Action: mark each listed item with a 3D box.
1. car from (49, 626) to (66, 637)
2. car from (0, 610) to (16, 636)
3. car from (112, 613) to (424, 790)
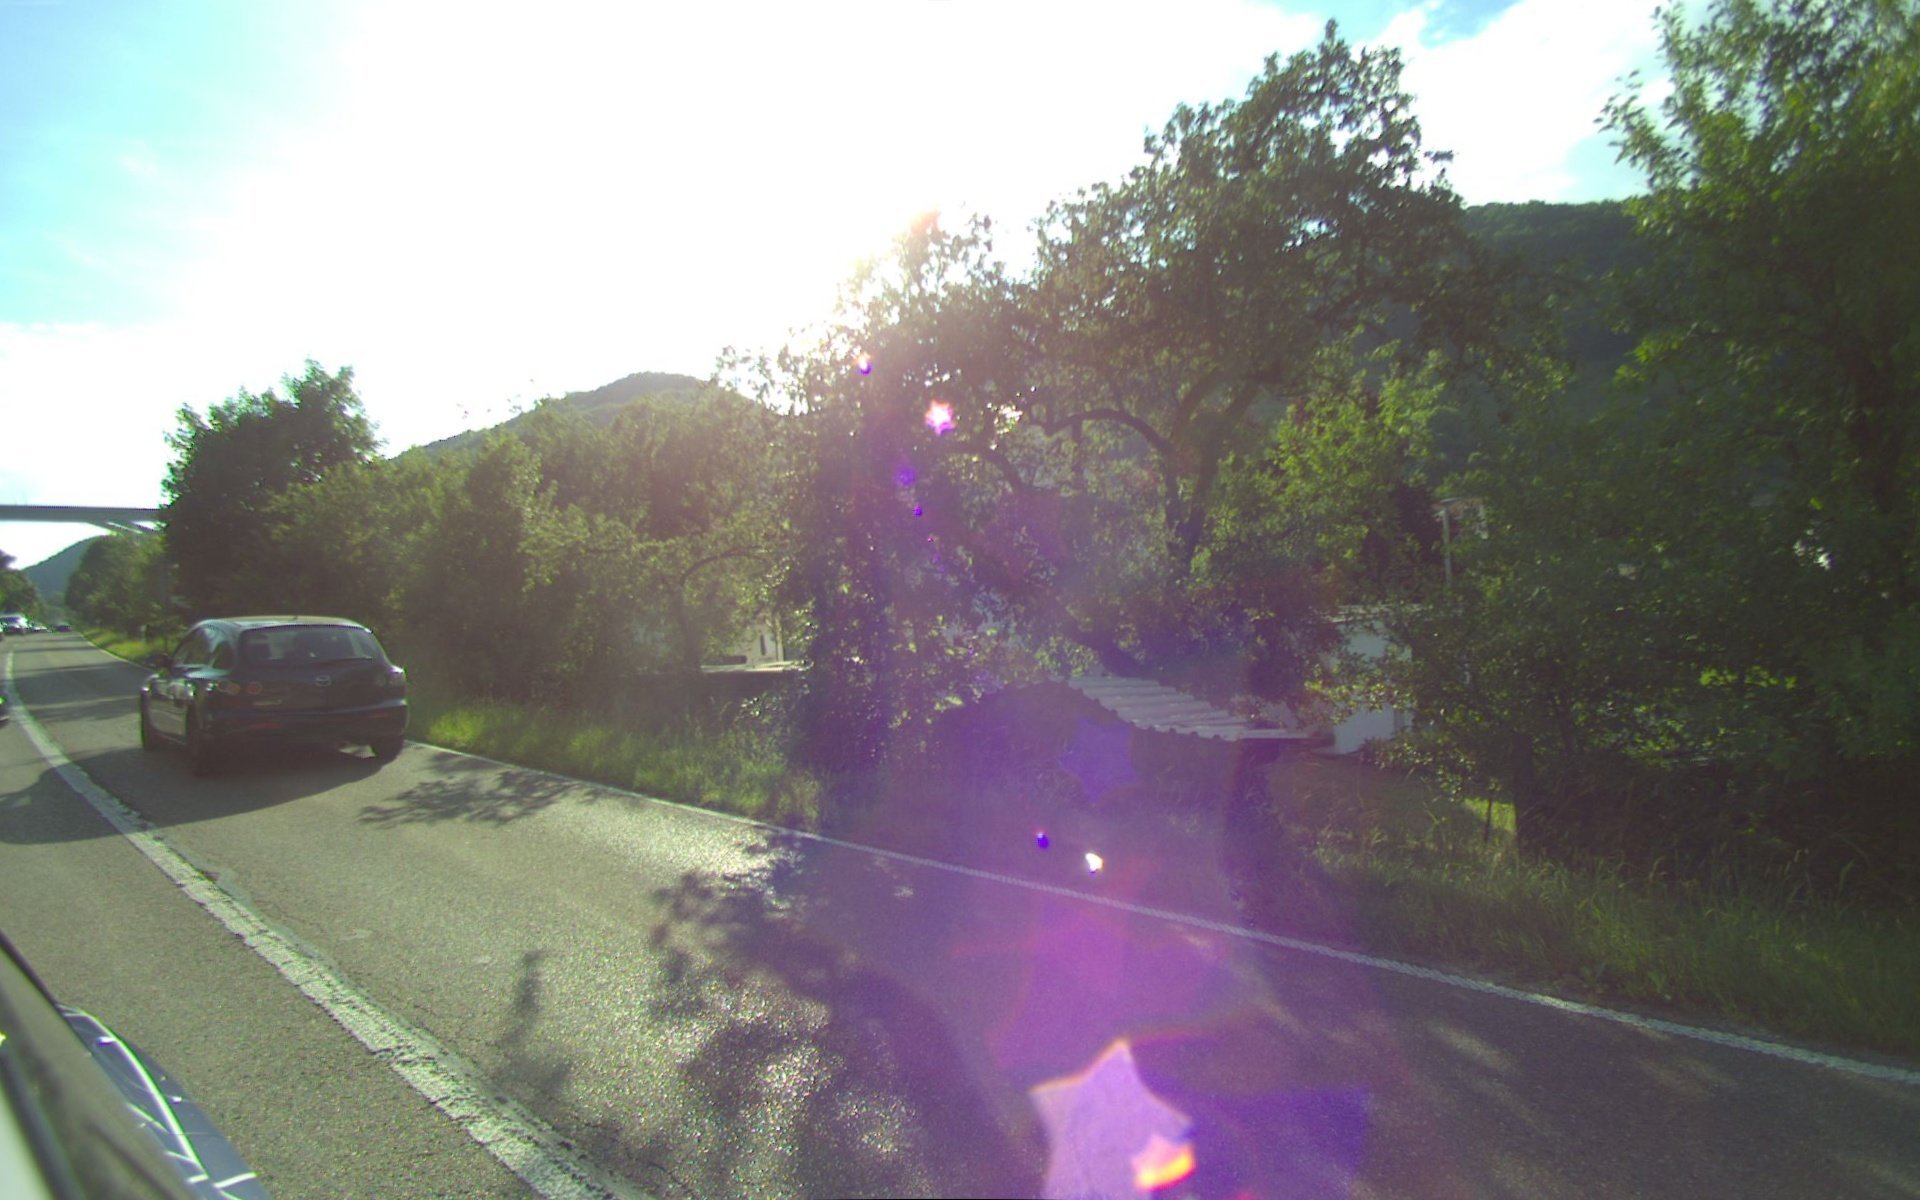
[{"bbox_3d":[-129.957,4.532,145.684,1.576,1.364,4.206,-1,0,-45],"label":"car"},{"bbox_3d":[-77.768,1.848,81.884,1.970,2.029,4.003,-1,0,-44],"label":"car"},{"bbox_3d":[-7.218,0.872,10.395,4.048,1.441,1.686,-1,0,41],"label":"car"}]
